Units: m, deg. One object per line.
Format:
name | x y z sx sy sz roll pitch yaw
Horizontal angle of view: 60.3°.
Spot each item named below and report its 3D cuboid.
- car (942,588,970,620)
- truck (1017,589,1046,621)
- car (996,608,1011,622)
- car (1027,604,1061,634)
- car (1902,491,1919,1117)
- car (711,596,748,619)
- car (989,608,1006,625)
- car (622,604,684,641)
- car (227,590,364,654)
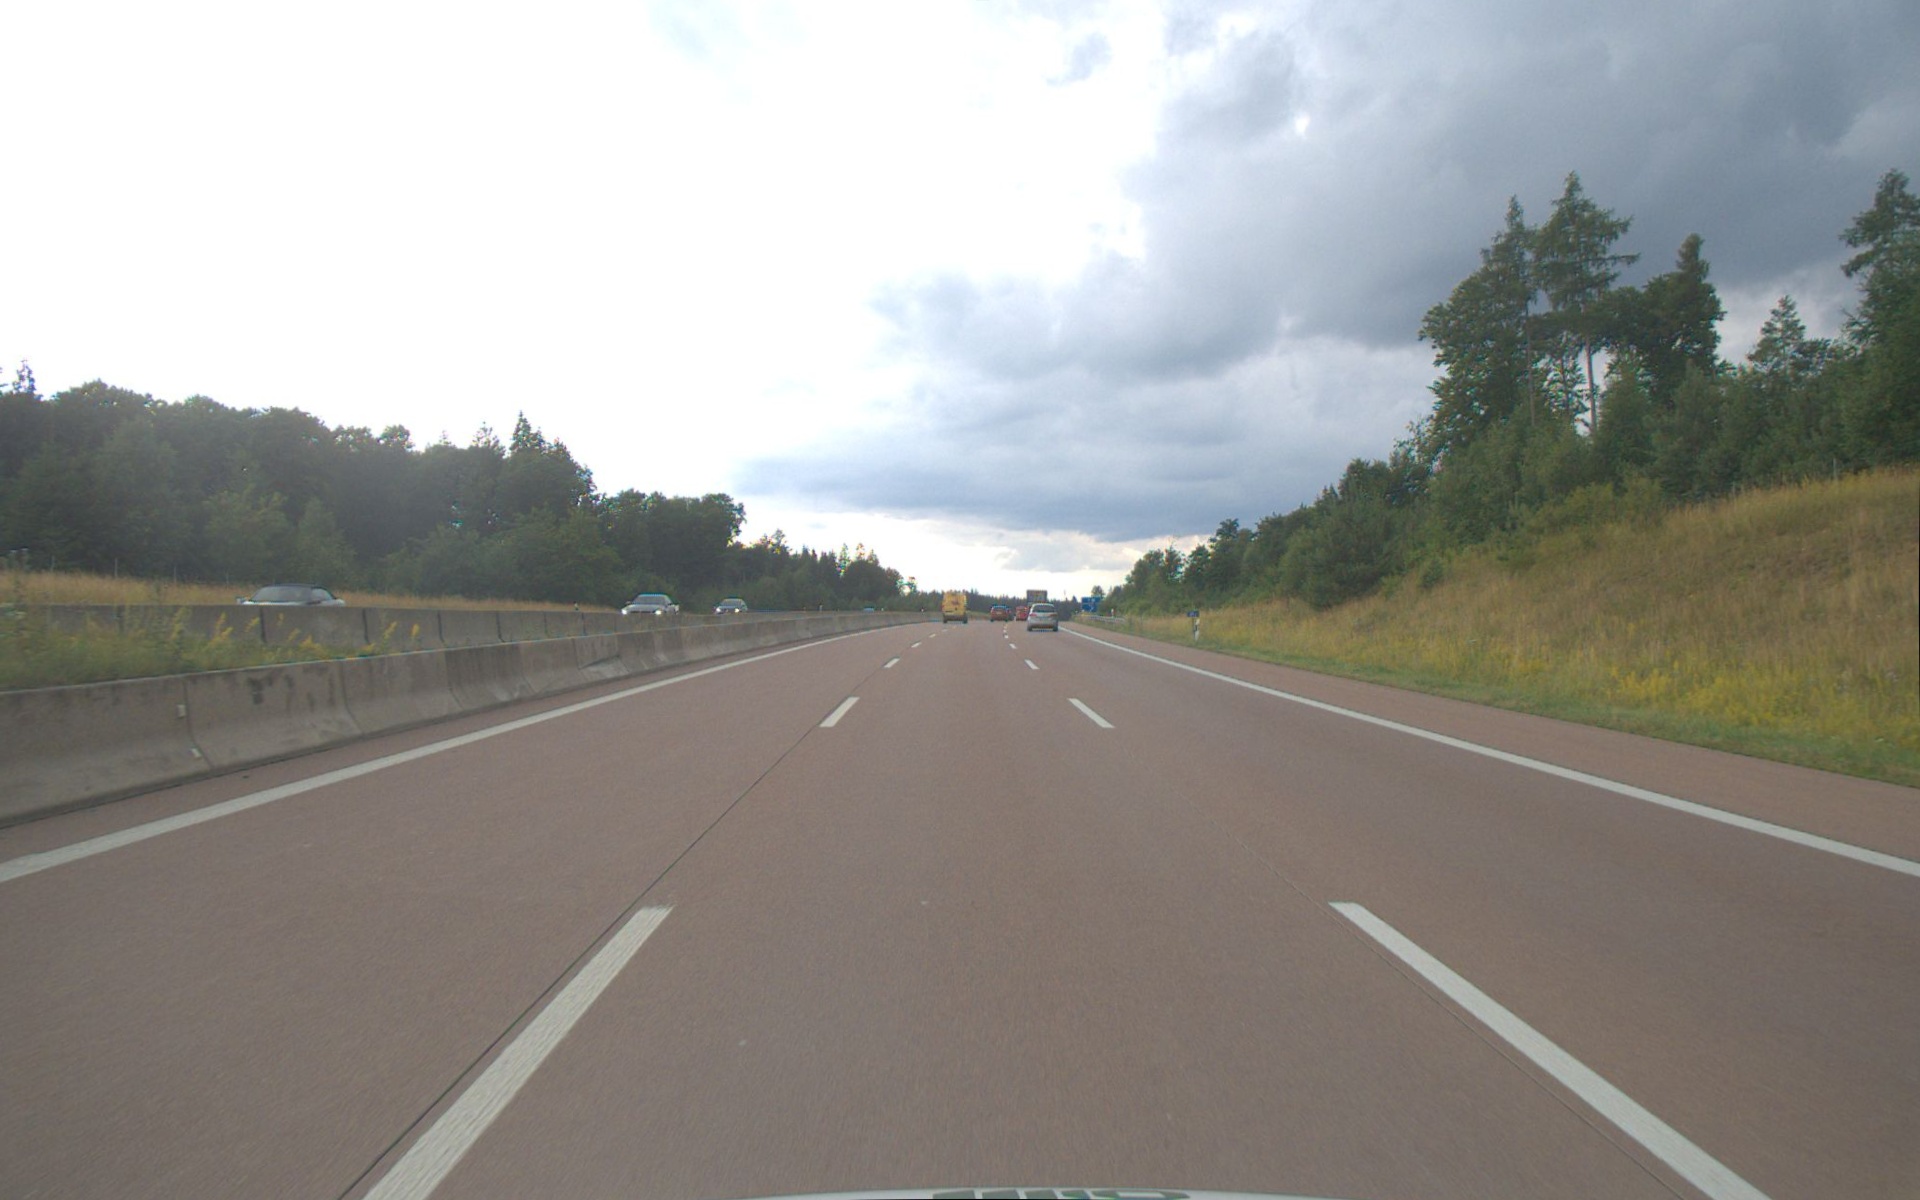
car | -0.342 0.379 145.639 2.408 2.754 5.613 0 -1 1
truck | 9.589 0.752 222.274 3.604 3.981 12.818 1 -1 2
car | 5.696 1.943 215.538 1.848 1.795 4.998 0 -1 2
car | 4.903 1.110 96.573 1.936 1.677 4.620 1 0 3
car | 3.998 0.605 2.416 2.002 1.930 5.576 0 -1 -1
car | -16.297 0.571 117.120 1.889 1.514 4.424 1 -1 2
car | 4.037 1.808 177.796 1.848 1.795 4.783 0 -1 2
car | -13.396 1.002 72.281 1.696 1.552 4.246 1 -1 3
car | -17.149 0.585 42.914 1.697 1.552 4.411 1 -1 0
